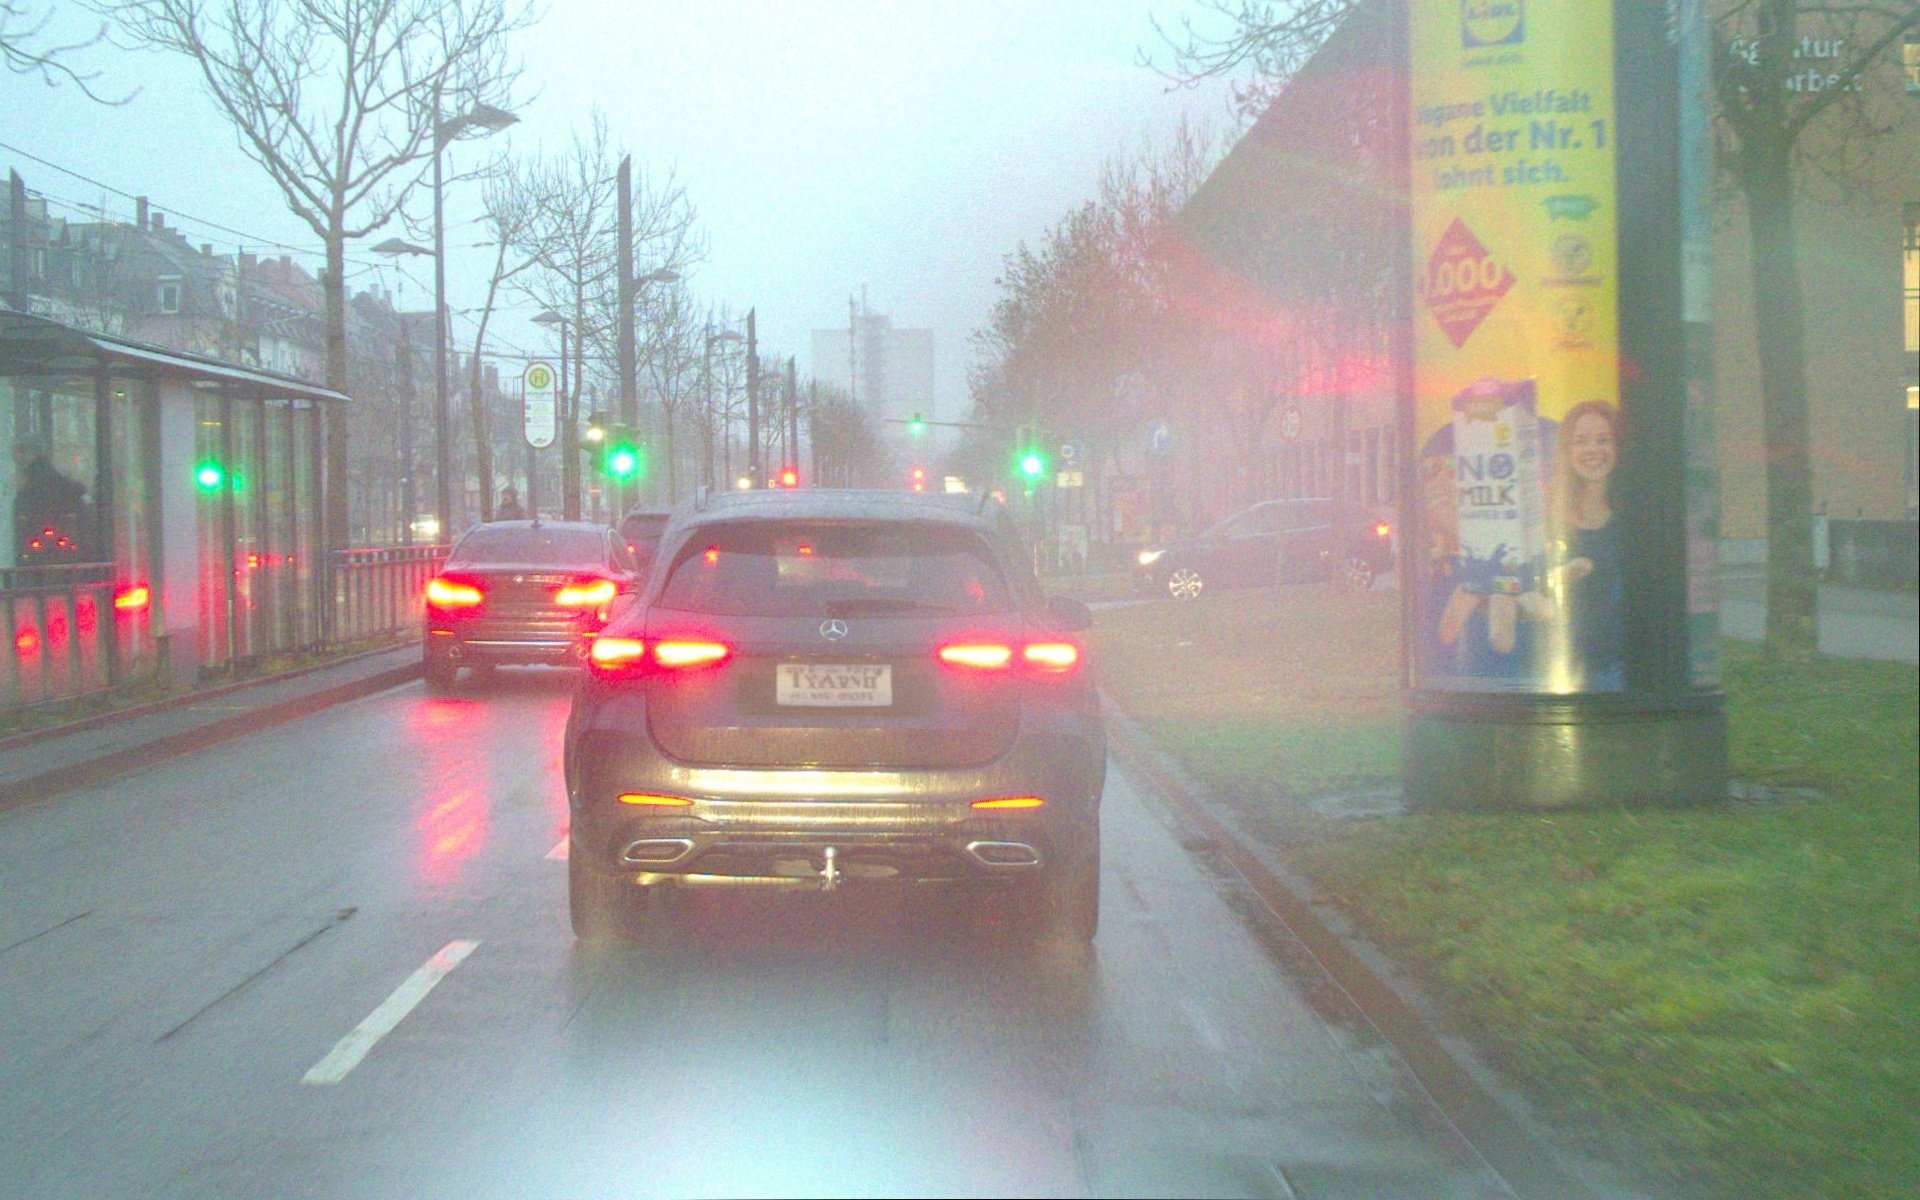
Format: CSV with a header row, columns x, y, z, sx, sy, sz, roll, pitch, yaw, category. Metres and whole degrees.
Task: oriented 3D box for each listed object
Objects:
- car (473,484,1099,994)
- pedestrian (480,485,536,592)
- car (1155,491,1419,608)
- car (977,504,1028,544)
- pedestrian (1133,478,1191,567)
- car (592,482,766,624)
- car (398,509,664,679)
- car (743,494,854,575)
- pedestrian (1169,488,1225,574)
x,y,z,sx,sy,sz,roll,pitch,yaw,category
-0.604,0.395,13.164,1.991,1.610,4.001,-1,2,-1,car
-6.687,-0.914,50.854,0.698,1.547,0.669,-2,1,0,pedestrian
5.046,-0.799,53.407,3.860,1.555,1.765,-4,2,1,car
1.753,-3.173,143.359,1.993,1.593,4.000,-2,1,-1,car
3.689,-1.415,62.690,0.903,1.590,0.501,0,2,42,pedestrian
-3.682,-0.654,45.672,1.993,1.759,4.000,-1,2,-1,car
-3.825,-0.101,31.269,1.993,1.393,4.001,-1,2,-2,car
-3.375,-1.395,72.380,1.993,1.612,4.000,-1,2,2,car
4.483,-1.307,65.087,0.903,1.590,0.501,0,2,42,pedestrian
